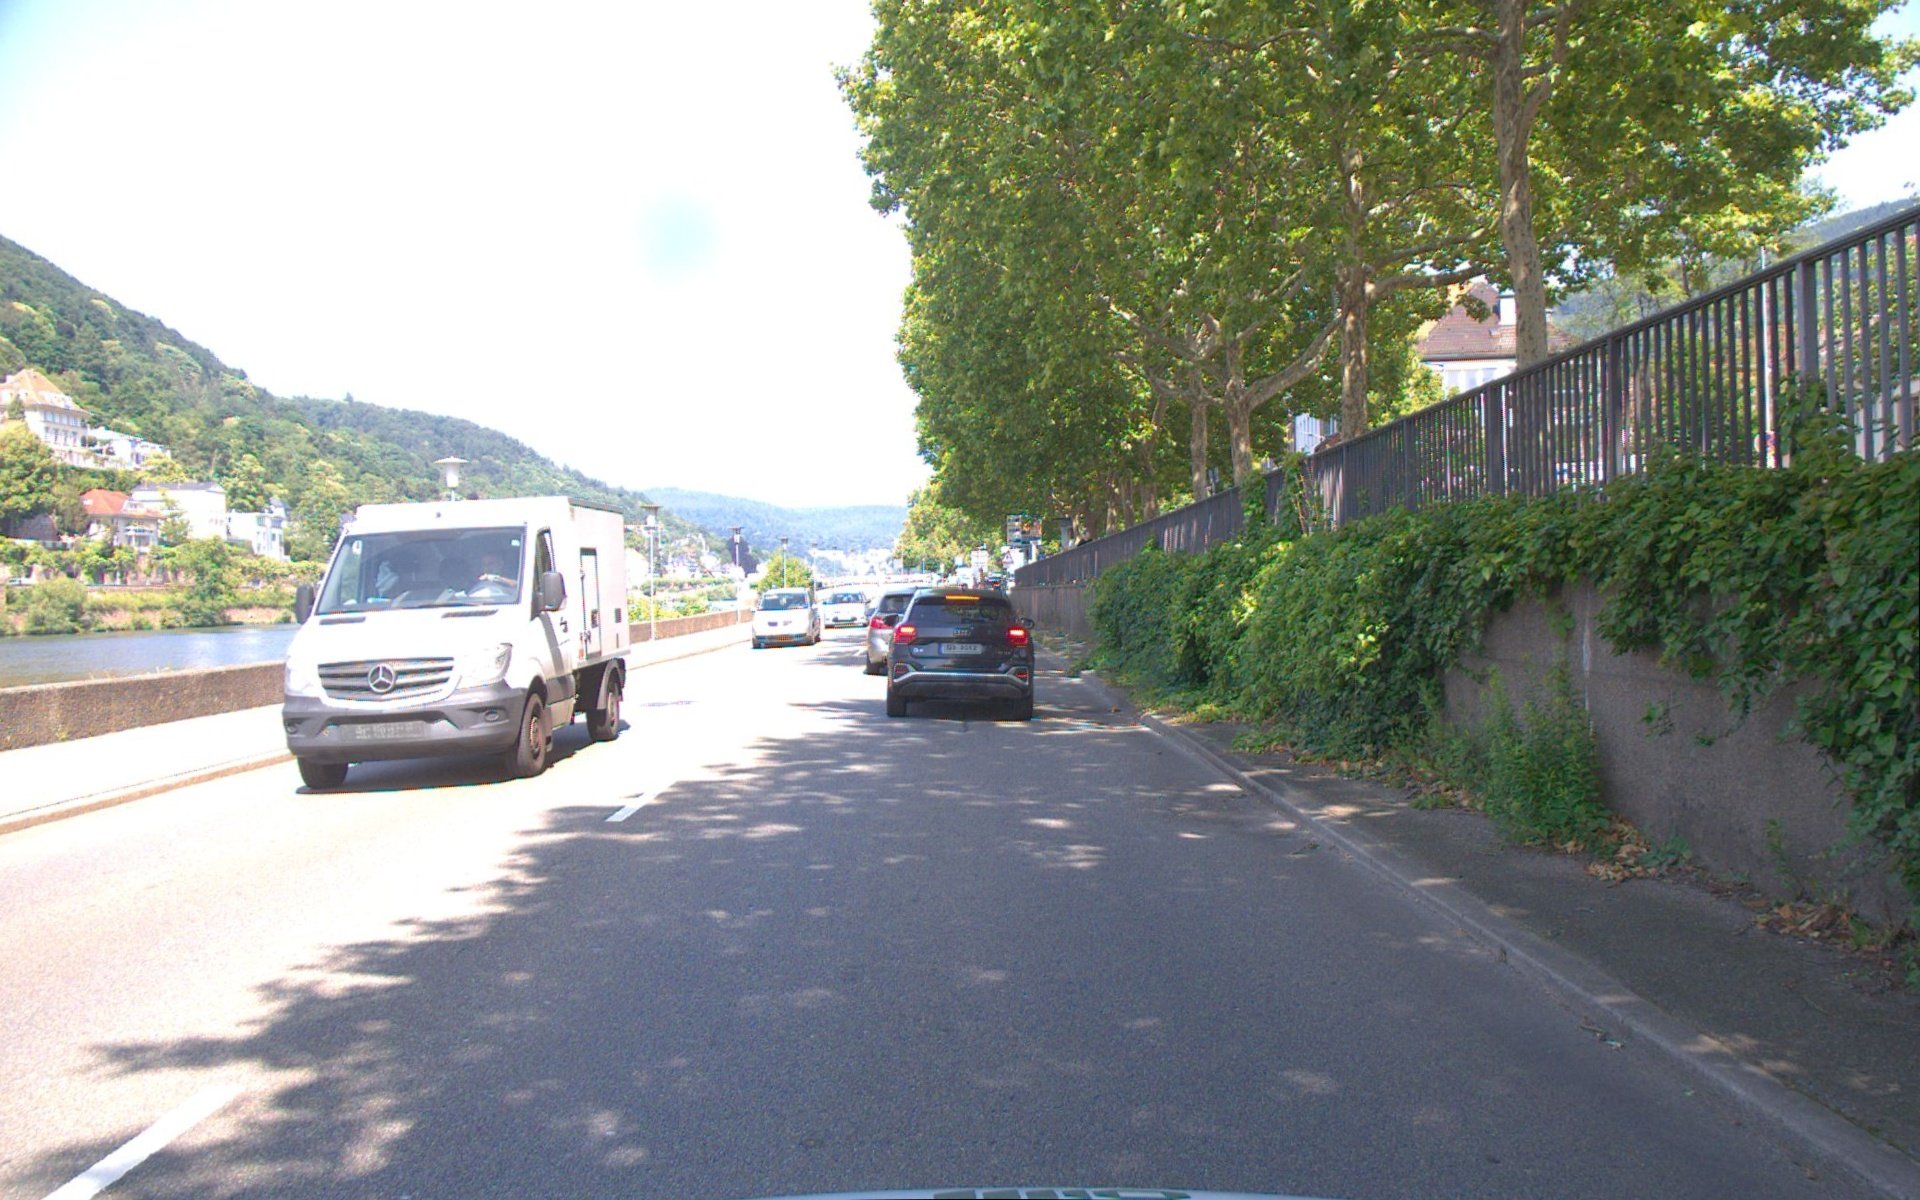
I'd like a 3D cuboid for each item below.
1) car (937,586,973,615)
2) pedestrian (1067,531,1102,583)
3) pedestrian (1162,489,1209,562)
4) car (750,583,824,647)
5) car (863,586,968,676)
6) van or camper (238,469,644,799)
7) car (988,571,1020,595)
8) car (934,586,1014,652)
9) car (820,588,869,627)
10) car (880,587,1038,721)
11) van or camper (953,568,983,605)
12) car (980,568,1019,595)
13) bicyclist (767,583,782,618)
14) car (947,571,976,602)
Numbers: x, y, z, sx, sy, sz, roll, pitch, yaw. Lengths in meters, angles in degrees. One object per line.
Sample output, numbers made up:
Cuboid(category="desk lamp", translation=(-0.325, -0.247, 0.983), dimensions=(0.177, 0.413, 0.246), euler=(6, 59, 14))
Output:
Cuboid(category="car", translation=(-0.281, 0.015, 87.560), dimensions=(1.791, 1.469, 3.999), euler=(0, 1, -1))
Cuboid(category="pedestrian", translation=(4.002, -1.368, 53.302), dimensions=(0.918, 1.606, 1.027), euler=(-4, 0, -3))
Cuboid(category="pedestrian", translation=(4.545, -1.501, 33.371), dimensions=(0.738, 1.389, 0.814), euler=(-4, 0, -3))
Cuboid(category="car", translation=(-4.949, 0.407, 47.750), dimensions=(1.696, 1.678, 4.176), euler=(-3, 0, -1))
Cuboid(category="car", translation=(-0.807, 0.512, 30.500), dimensions=(1.791, 1.537, 3.999), euler=(0, 1, -1))
Cuboid(category="van or camper", translation=(-4.544, 0.244, 15.542), dimensions=(2.035, 2.440, 5.384), euler=(-3, 0, -1))
Cuboid(category="car", translation=(4.096, -1.584, 154.117), dimensions=(2.608, 2.048, 5.823), euler=(-4, 1, -1))
Cuboid(category="car", translation=(0.290, 0.415, 39.916), dimensions=(1.791, 1.512, 3.999), euler=(0, 1, -1))
Cuboid(category="car", translation=(-4.627, 0.279, 66.771), dimensions=(1.696, 1.467, 4.044), euler=(-3, 0, -1))
Cuboid(category="car", translation=(-0.047, 0.597, 20.828), dimensions=(1.791, 1.512, 3.999), euler=(0, 1, -1))
Cuboid(category="van or camper", translation=(0.663, -1.080, 132.297), dimensions=(2.262, 2.897, 4.246), euler=(-1, 0, 1))
Cuboid(category="car", translation=(3.398, -1.621, 143.719), dimensions=(3.036, 2.048, 5.823), euler=(-4, 1, -1))
Cuboid(category="bicyclist", translation=(-9.072, 0.016, 80.993), dimensions=(0.624, 1.703, 0.871), euler=(-1, 0, -1))
Cuboid(category="car", translation=(0.094, -0.974, 121.298), dimensions=(1.953, 2.207, 3.999), euler=(0, 1, -1))
